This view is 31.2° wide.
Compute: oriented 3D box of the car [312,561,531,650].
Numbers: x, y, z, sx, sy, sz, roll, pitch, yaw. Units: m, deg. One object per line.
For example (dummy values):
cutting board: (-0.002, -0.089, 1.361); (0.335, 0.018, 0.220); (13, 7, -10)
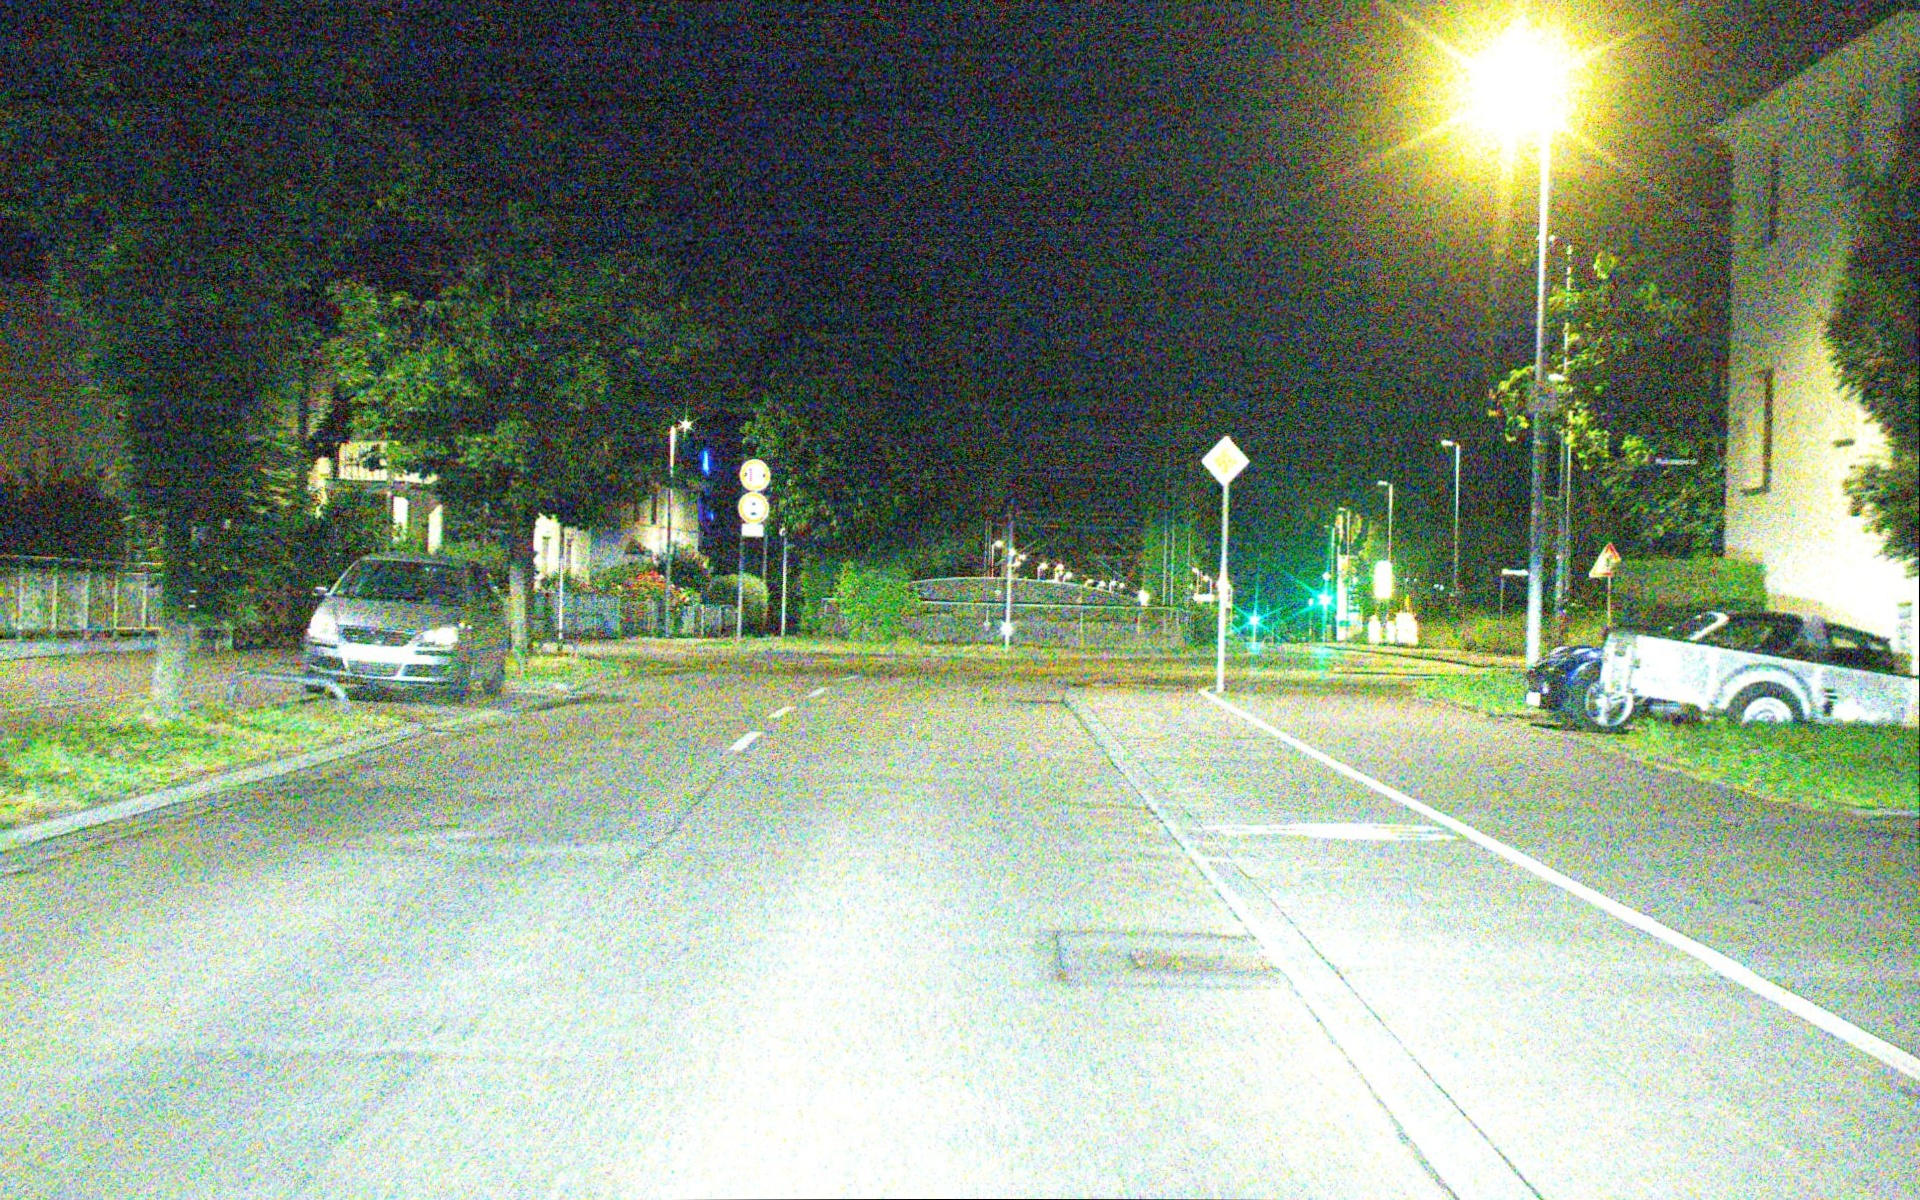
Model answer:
car: (-10.318, 0.108, 65.914); (3.716, 1.621, 1.781); (1, 0, 19)

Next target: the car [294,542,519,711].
car: (-5.662, 0.243, 35.566); (1.672, 1.585, 3.987); (2, 1, -1)

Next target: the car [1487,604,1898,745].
car: (6.708, 0.672, 31.718); (3.391, 1.228, 1.724); (0, 1, -1)

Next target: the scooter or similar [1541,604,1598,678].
scooter or similar: (10.871, 0.723, 61.342); (0.611, 1.277, 1.690); (2, 0, -2)

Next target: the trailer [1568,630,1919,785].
trailer: (6.890, 0.895, 28.071); (3.432, 0.999, 1.954); (4, 1, 0)
